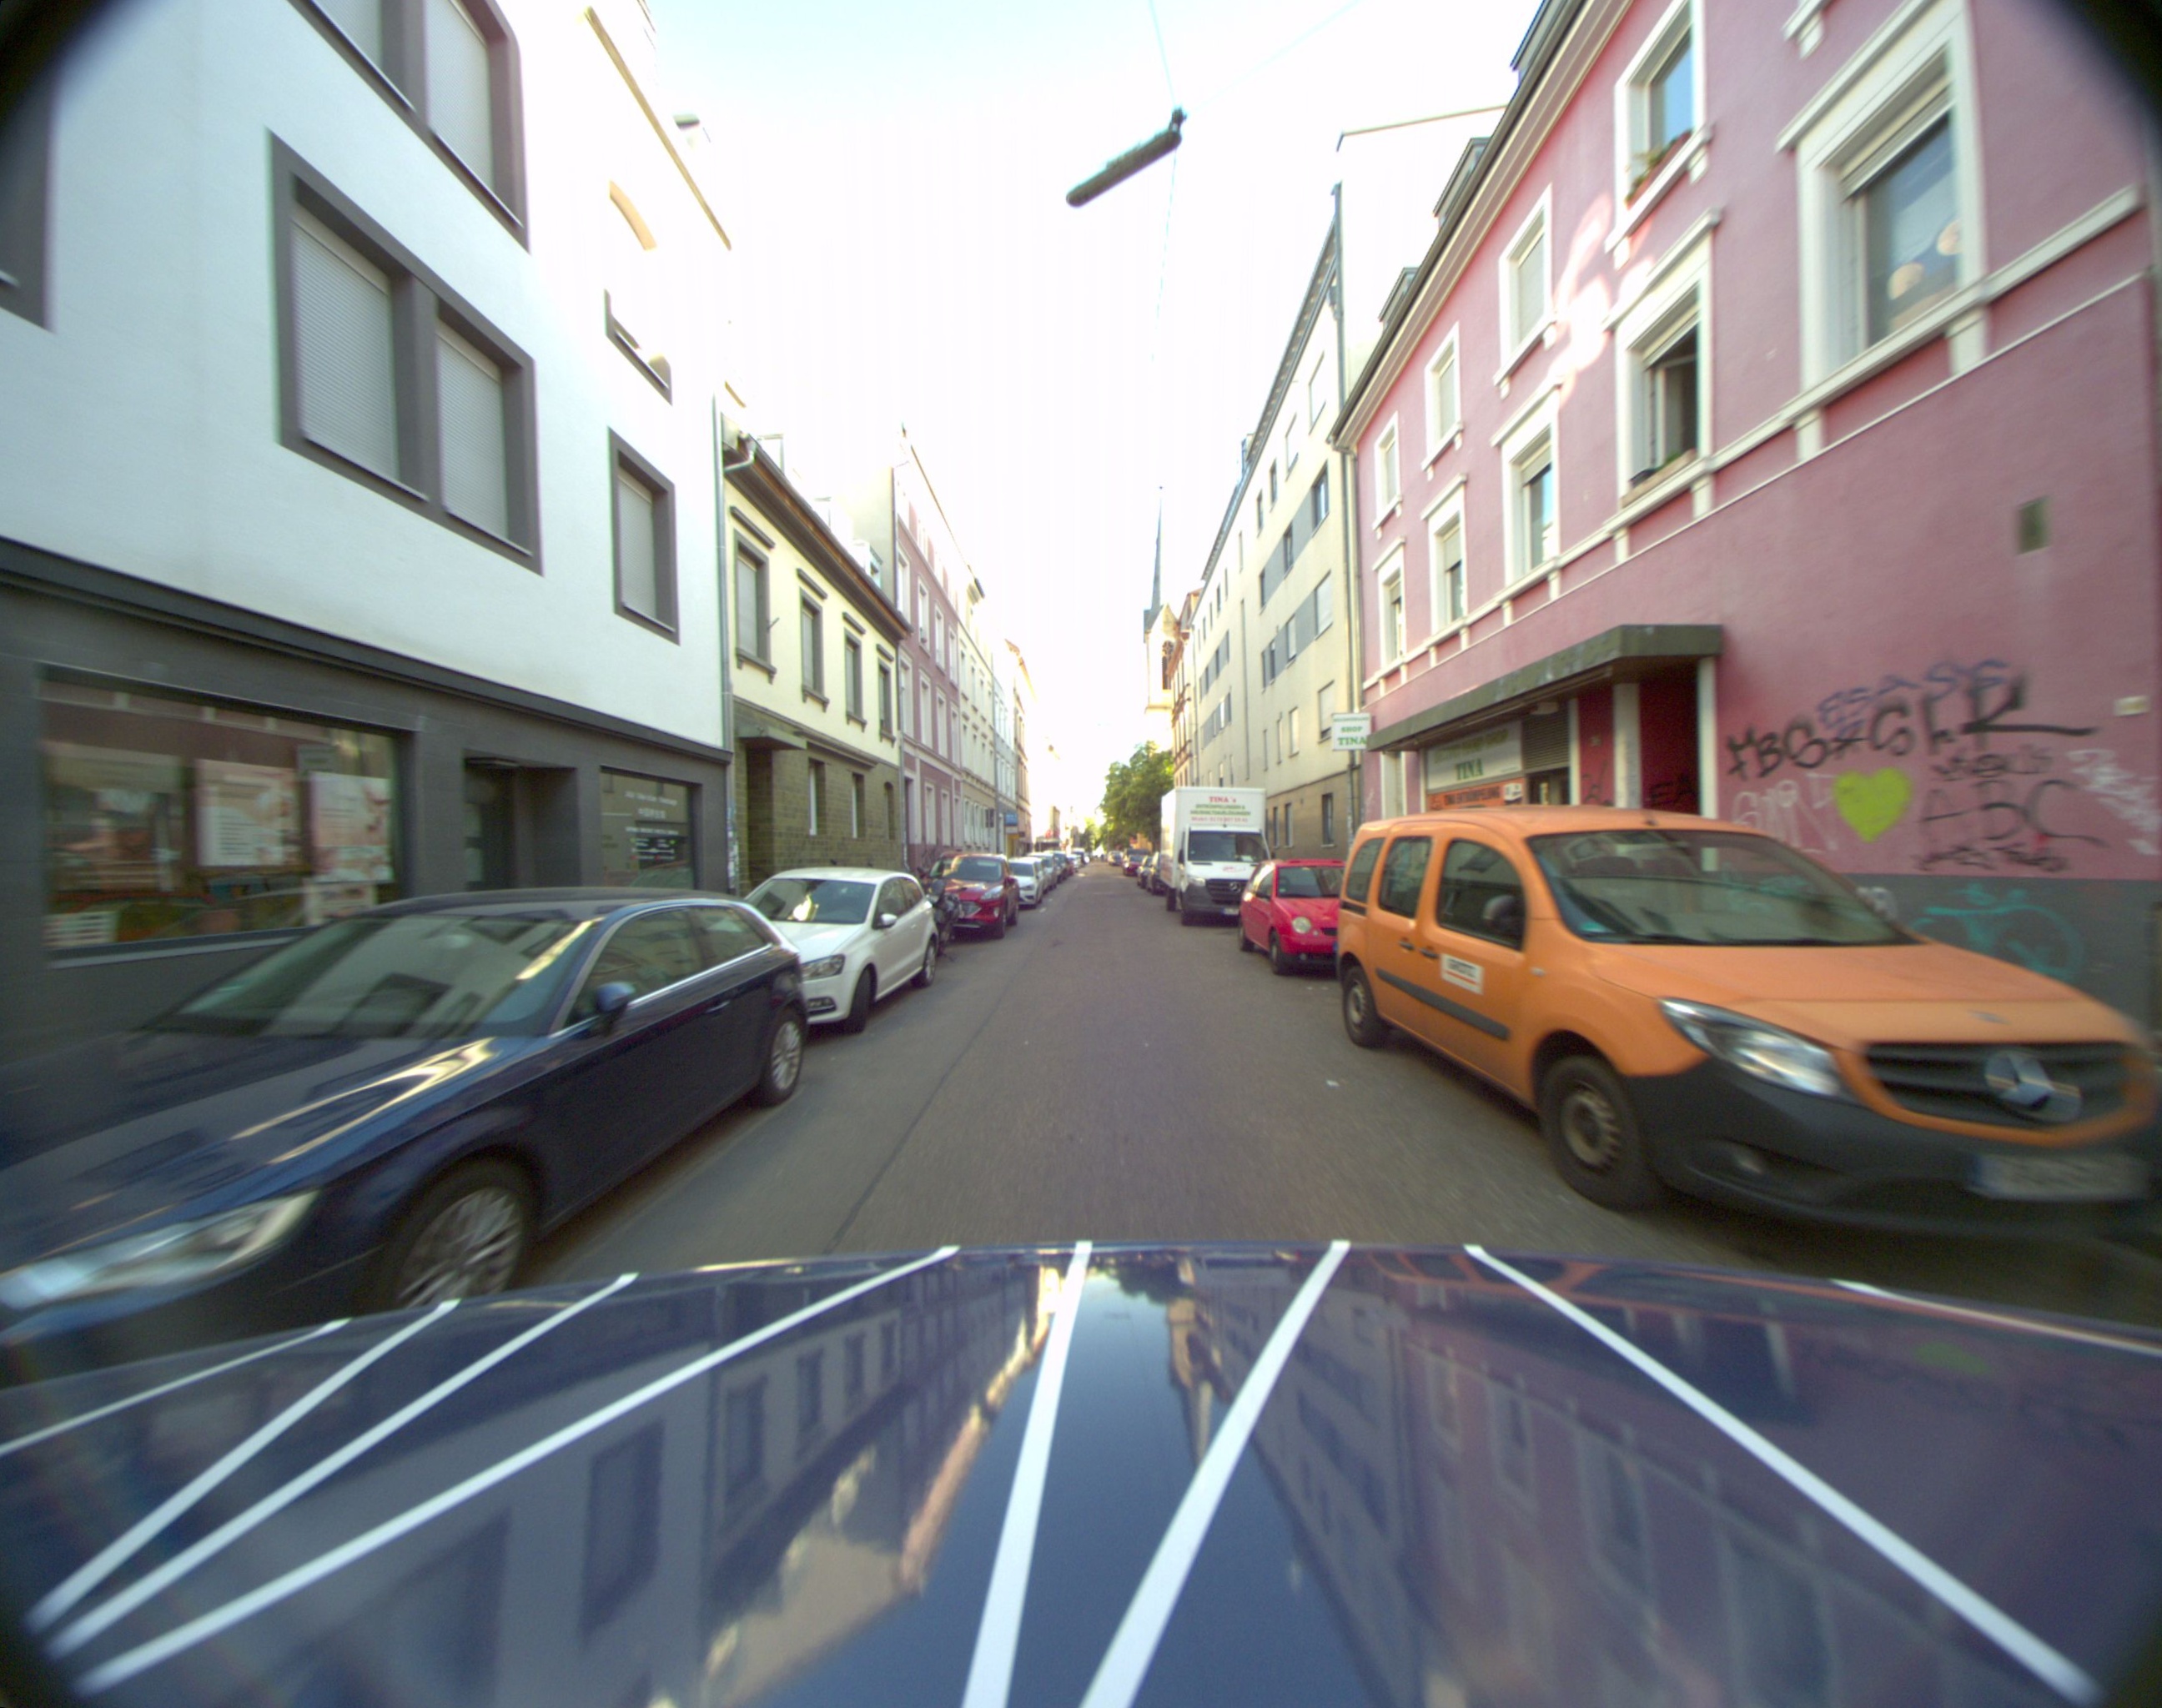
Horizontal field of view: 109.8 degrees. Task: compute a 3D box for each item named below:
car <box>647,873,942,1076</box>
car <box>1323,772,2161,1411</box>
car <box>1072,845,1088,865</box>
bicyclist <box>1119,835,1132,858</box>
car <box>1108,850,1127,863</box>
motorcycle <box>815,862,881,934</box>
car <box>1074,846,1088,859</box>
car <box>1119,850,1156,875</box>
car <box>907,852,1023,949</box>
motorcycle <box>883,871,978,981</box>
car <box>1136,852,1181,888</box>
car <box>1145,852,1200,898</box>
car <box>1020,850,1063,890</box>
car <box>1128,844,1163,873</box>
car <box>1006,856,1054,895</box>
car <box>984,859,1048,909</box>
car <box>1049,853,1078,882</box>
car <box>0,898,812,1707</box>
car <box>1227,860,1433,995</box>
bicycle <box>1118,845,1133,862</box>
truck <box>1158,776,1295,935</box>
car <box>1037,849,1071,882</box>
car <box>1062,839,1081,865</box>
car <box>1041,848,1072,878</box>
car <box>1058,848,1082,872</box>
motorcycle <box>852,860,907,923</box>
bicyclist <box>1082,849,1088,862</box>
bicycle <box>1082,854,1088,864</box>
[{"bbox_3d":[-2.660,1.021,8.021,1.620,1.495,3.772,0,1,1],"label":"car"},{"bbox_3d":[2.918,0.663,4.291,1.807,1.834,4.244,-1,1,1],"label":"car"},{"bbox_3d":[-0.166,0.169,112.751,1.999,2.777,4.562,-3,1,-2],"label":"car"},{"bbox_3d":[4.448,-0.739,76.441,1.020,2.280,1.531,-3,1,-4],"label":"bicyclist"},{"bbox_3d":[4.599,0.340,96.240,1.927,1.522,4.562,-3,1,-2],"label":"car"},{"bbox_3d":[-4.932,0.893,16.234,0.667,1.388,2.037,-3,1,1],"label":"motorcycle"},{"bbox_3d":[-0.028,-0.294,122.883,1.999,2.002,4.562,-3,1,-2],"label":"car"},{"bbox_3d":[3.812,0.531,51.654,1.927,1.522,4.562,-3,1,-2],"label":"car"},{"bbox_3d":[-2.303,0.849,16.129,1.713,1.721,4.407,0,1,1],"label":"car"},{"bbox_3d":[-2.285,1.048,11.899,0.990,1.481,2.267,0,1,1],"label":"motorcycle"},{"bbox_3d":[3.500,0.698,34.799,1.687,1.482,3.914,1,1,1],"label":"car"},{"bbox_3d":[3.423,0.742,29.022,1.687,1.579,3.914,1,1,1],"label":"car"},{"bbox_3d":[-1.785,0.704,35.670,1.713,1.721,4.220,0,1,1],"label":"car"},{"bbox_3d":[4.808,0.308,57.576,1.999,2.002,4.562,-3,1,-2],"label":"car"},{"bbox_3d":[-2.010,0.824,30.915,1.612,1.444,3.881,0,1,1],"label":"car"},{"bbox_3d":[-1.986,0.899,24.189,1.612,1.388,3.881,0,1,1],"label":"car"},{"bbox_3d":[-1.307,0.953,56.509,1.999,2.002,4.563,-3,1,-1],"label":"car"},{"bbox_3d":[-2.765,1.022,3.324,1.736,1.388,3.881,0,1,1],"label":"car"},{"bbox_3d":[3.185,0.852,10.467,1.687,1.458,3.660,-1,1,1],"label":"car"},{"bbox_3d":[4.523,-0.030,76.770,1.020,1.641,3.546,-3,1,-3],"label":"bicycle"},{"bbox_3d":[3.264,-0.007,18.722,2.296,3.165,7.045,-1,1,2],"label":"truck"},{"bbox_3d":[-1.465,0.614,42.403,1.713,1.721,4.220,0,1,1],"label":"car"},{"bbox_3d":[-1.129,-0.270,86.705,1.999,2.777,4.562,-3,1,-2],"label":"car"},{"bbox_3d":[-1.491,0.545,47.732,1.713,1.802,4.220,0,1,1],"label":"car"},{"bbox_3d":[-1.051,0.508,68.609,1.999,2.002,4.562,-3,1,-2],"label":"car"},{"bbox_3d":[-4.868,0.866,18.460,0.697,1.388,2.037,-3,1,1],"label":"motorcycle"},{"bbox_3d":[0.470,0.209,94.763,0.716,1.650,0.877,-3,1,-1],"label":"bicyclist"},{"bbox_3d":[0.481,0.595,94.907,0.729,1.173,2.488,-3,1,-1],"label":"bicycle"}]
